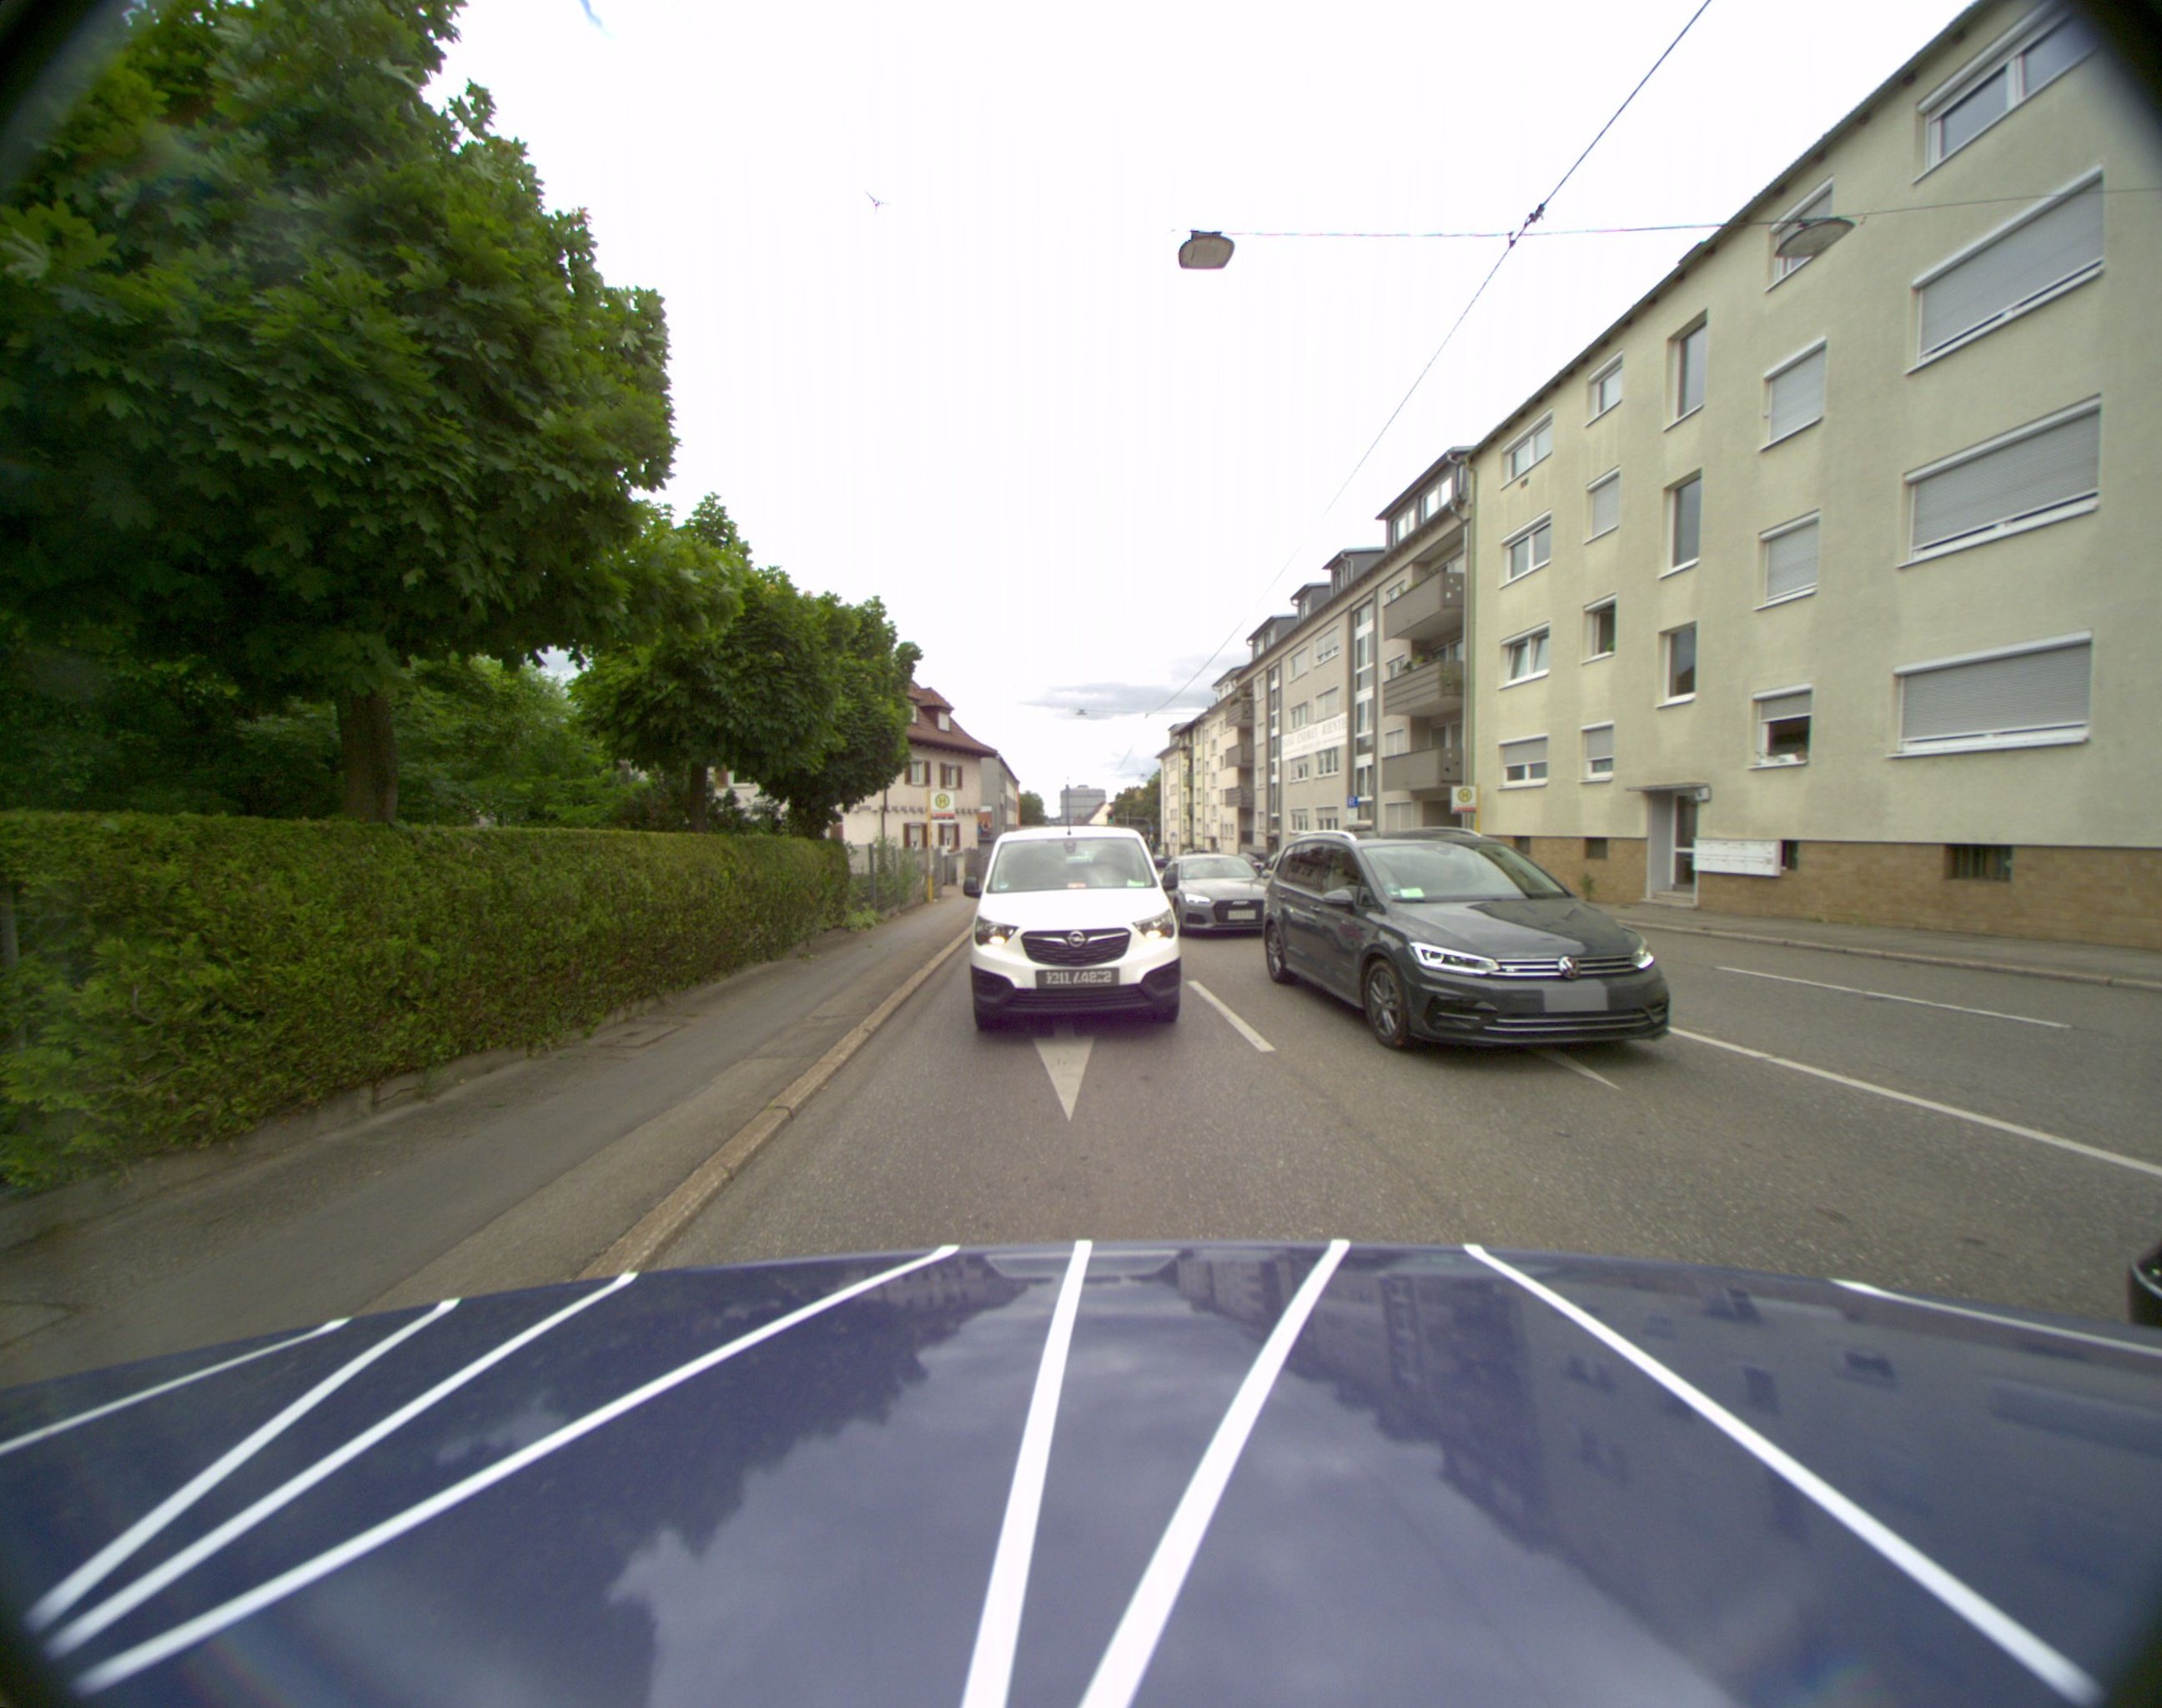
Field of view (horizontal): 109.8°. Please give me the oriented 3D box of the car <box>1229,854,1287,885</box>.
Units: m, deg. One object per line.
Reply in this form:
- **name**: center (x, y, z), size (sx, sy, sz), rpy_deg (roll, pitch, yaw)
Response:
- **car**: center (8.365, 0.696, 36.149), size (1.669, 1.368, 3.538), rpy_deg (1, 1, -5)

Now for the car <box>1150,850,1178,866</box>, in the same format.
- **car**: center (7.428, 0.343, 68.219), size (1.776, 1.395, 3.757), rpy_deg (1, 1, -5)

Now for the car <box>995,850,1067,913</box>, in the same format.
- **car**: center (-1.495, 0.719, 22.025), size (1.900, 1.635, 3.997), rpy_deg (0, 1, -5)

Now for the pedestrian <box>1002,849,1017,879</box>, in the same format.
- **pedestrian**: center (-4.337, 0.610, 45.945), size (0.646, 1.830, 0.593), rpy_deg (-1, 1, 20)

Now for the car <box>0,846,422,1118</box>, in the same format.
- **car**: center (-6.633, 0.733, 4.667), size (1.698, 1.452, 3.443), rpy_deg (-2, 1, 21)

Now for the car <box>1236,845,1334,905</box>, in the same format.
- **car**: center (5.539, 0.523, 21.050), size (1.602, 1.509, 3.458), rpy_deg (0, 1, -4)

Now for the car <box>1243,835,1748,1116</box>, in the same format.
- **car**: center (2.970, 0.684, 6.760), size (1.863, 1.601, 4.477), rpy_deg (-2, 1, -3)

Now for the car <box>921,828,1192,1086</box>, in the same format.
- **car**: center (-0.161, 0.694, 7.751), size (1.862, 1.772, 4.710), rpy_deg (-2, 1, 0)

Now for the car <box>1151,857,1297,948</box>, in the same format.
- **car**: center (2.463, 0.770, 14.089), size (1.882, 1.347, 4.146), rpy_deg (-1, 1, 0)

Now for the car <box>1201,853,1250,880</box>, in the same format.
- **car**: center (7.964, 0.660, 42.173), size (1.776, 1.395, 3.538), rpy_deg (1, 1, -5)

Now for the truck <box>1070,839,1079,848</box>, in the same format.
- **truck**: center (-1.851, -3.011, 215.247), size (2.547, 2.522, 5.492), rpy_deg (-1, 1, -2)

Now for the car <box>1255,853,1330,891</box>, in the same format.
- **car**: center (8.588, 0.687, 31.203), size (1.776, 1.403, 3.685), rpy_deg (1, 1, -5)

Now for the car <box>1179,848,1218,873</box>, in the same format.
- **car**: center (7.917, 0.384, 51.302), size (1.776, 1.592, 3.538), rpy_deg (1, 1, -5)
